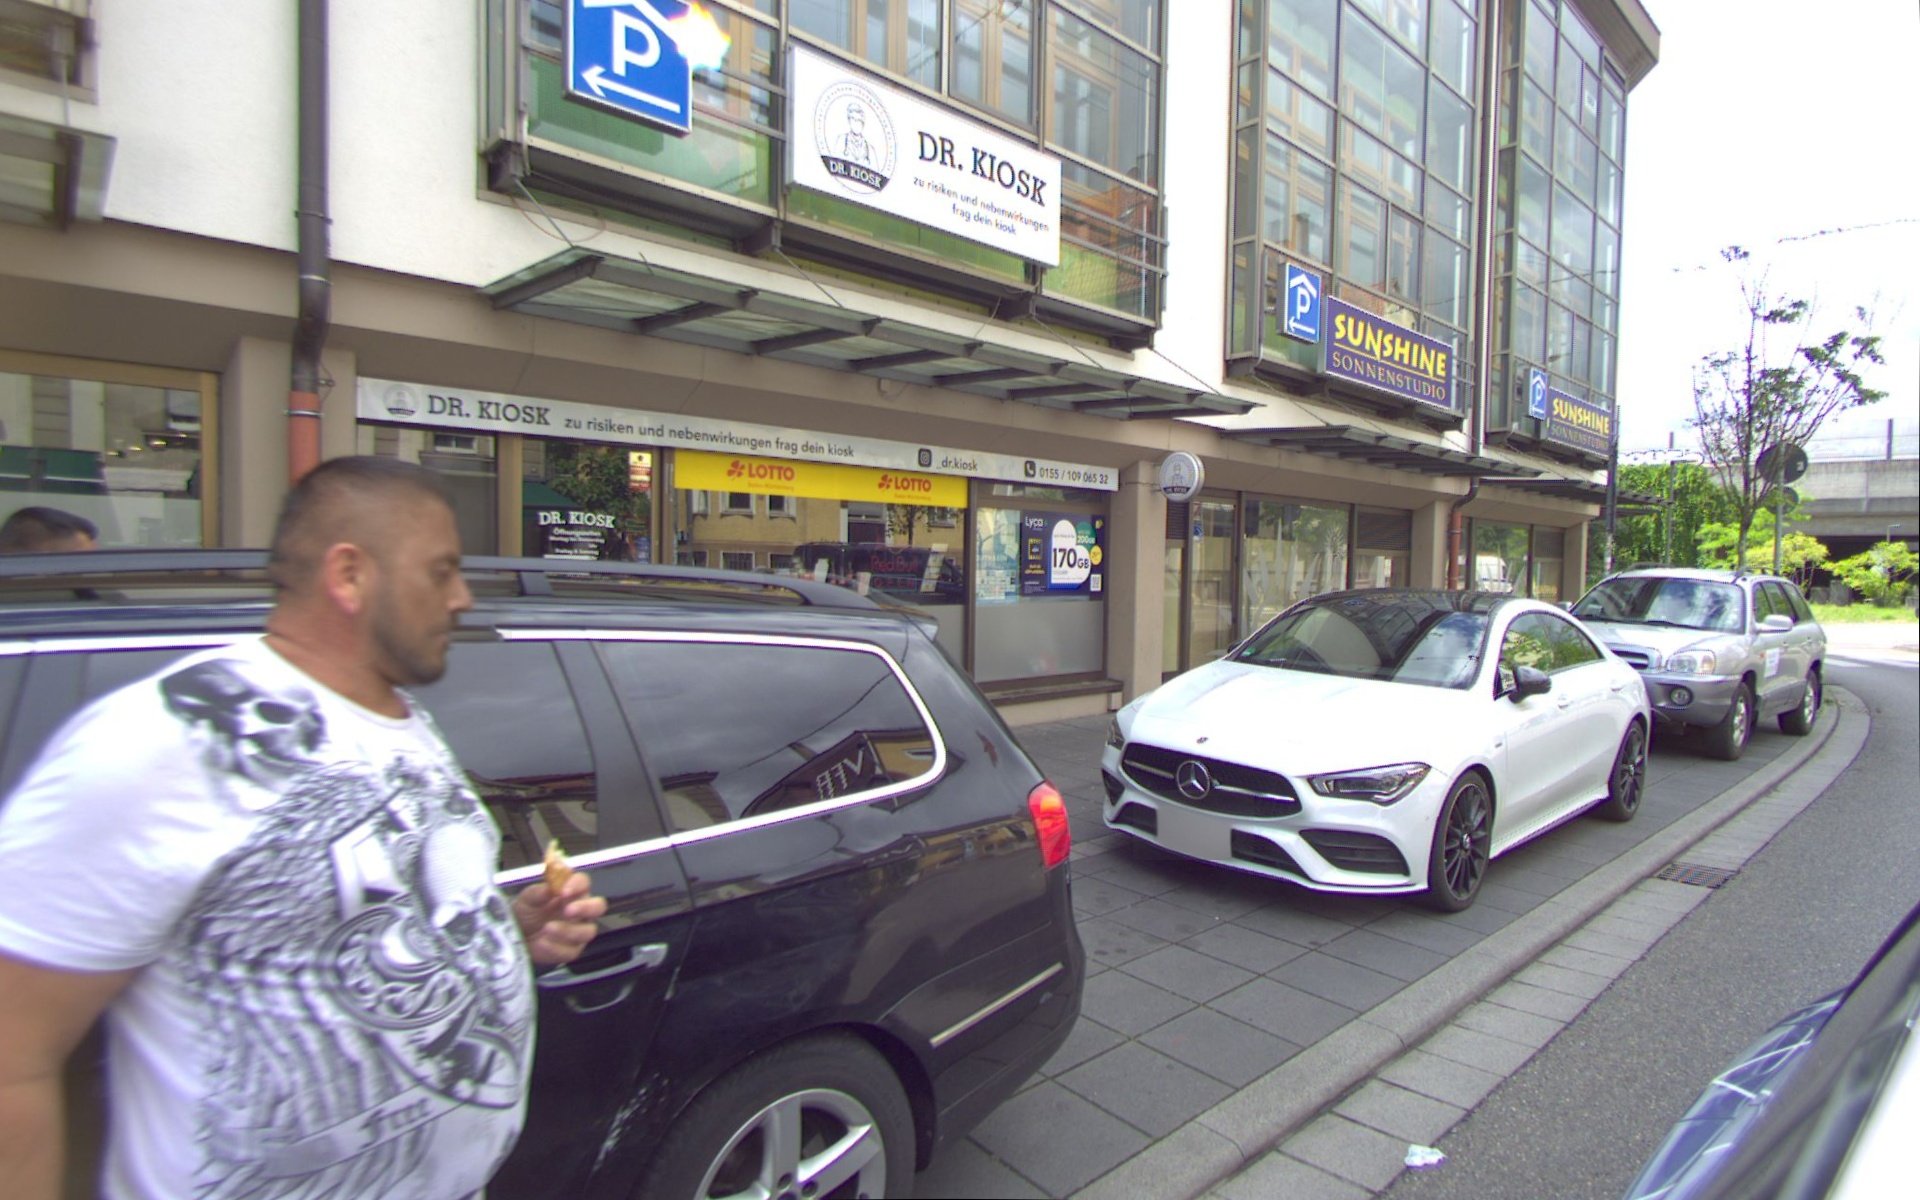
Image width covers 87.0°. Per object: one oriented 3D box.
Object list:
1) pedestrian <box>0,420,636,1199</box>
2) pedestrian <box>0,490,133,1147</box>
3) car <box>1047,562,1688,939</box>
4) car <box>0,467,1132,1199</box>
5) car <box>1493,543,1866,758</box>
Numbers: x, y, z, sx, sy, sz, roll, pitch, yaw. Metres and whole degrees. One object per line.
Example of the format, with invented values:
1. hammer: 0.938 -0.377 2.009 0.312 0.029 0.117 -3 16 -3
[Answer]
1. pedestrian: -0.633 0.674 1.063 0.537 1.620 0.586 -1 1 -20
2. pedestrian: -2.524 0.524 2.690 0.469 1.581 0.660 -1 1 -41
3. car: 2.718 0.533 6.115 4.458 1.463 1.855 -1 2 -42
4. car: -1.842 0.567 1.606 4.472 1.472 1.718 -1 2 -41
5. car: 7.294 0.340 10.103 4.385 1.681 1.826 -1 4 -38
